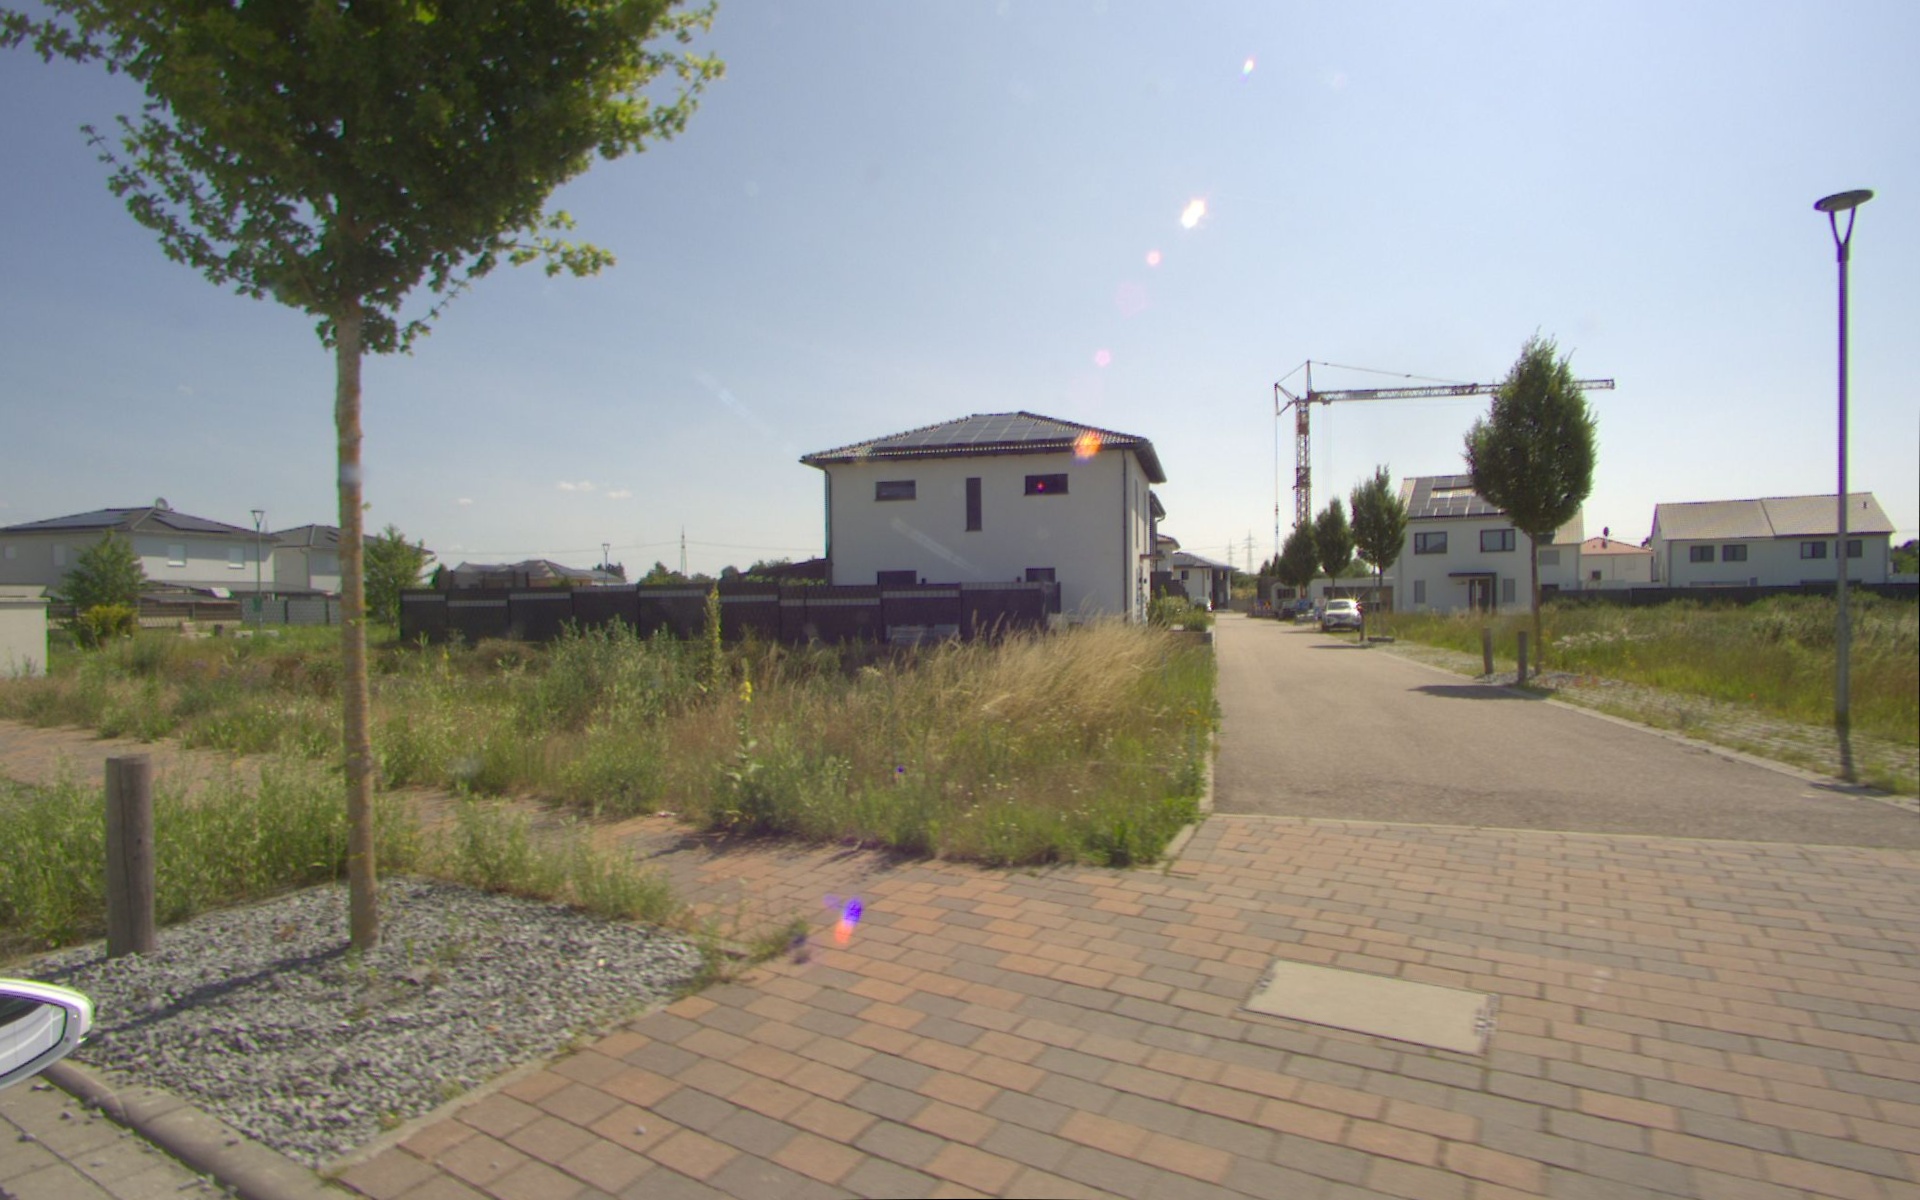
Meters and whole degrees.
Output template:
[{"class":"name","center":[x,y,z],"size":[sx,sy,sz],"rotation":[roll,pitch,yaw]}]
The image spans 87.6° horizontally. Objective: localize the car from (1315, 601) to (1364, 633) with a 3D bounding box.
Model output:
[{"class":"car","center":[17.687,0.777,46.752],"size":[1.710,1.461,3.827],"rotation":[0,0,14]}]

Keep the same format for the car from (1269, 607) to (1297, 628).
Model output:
[{"class":"car","center":[23.615,1.265,73.244],"size":[1.710,1.461,3.827],"rotation":[0,0,14]}]

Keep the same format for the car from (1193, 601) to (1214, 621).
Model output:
[{"class":"car","center":[18.985,0.824,78.240],"size":[1.564,1.509,3.368],"rotation":[0,0,13]}]
